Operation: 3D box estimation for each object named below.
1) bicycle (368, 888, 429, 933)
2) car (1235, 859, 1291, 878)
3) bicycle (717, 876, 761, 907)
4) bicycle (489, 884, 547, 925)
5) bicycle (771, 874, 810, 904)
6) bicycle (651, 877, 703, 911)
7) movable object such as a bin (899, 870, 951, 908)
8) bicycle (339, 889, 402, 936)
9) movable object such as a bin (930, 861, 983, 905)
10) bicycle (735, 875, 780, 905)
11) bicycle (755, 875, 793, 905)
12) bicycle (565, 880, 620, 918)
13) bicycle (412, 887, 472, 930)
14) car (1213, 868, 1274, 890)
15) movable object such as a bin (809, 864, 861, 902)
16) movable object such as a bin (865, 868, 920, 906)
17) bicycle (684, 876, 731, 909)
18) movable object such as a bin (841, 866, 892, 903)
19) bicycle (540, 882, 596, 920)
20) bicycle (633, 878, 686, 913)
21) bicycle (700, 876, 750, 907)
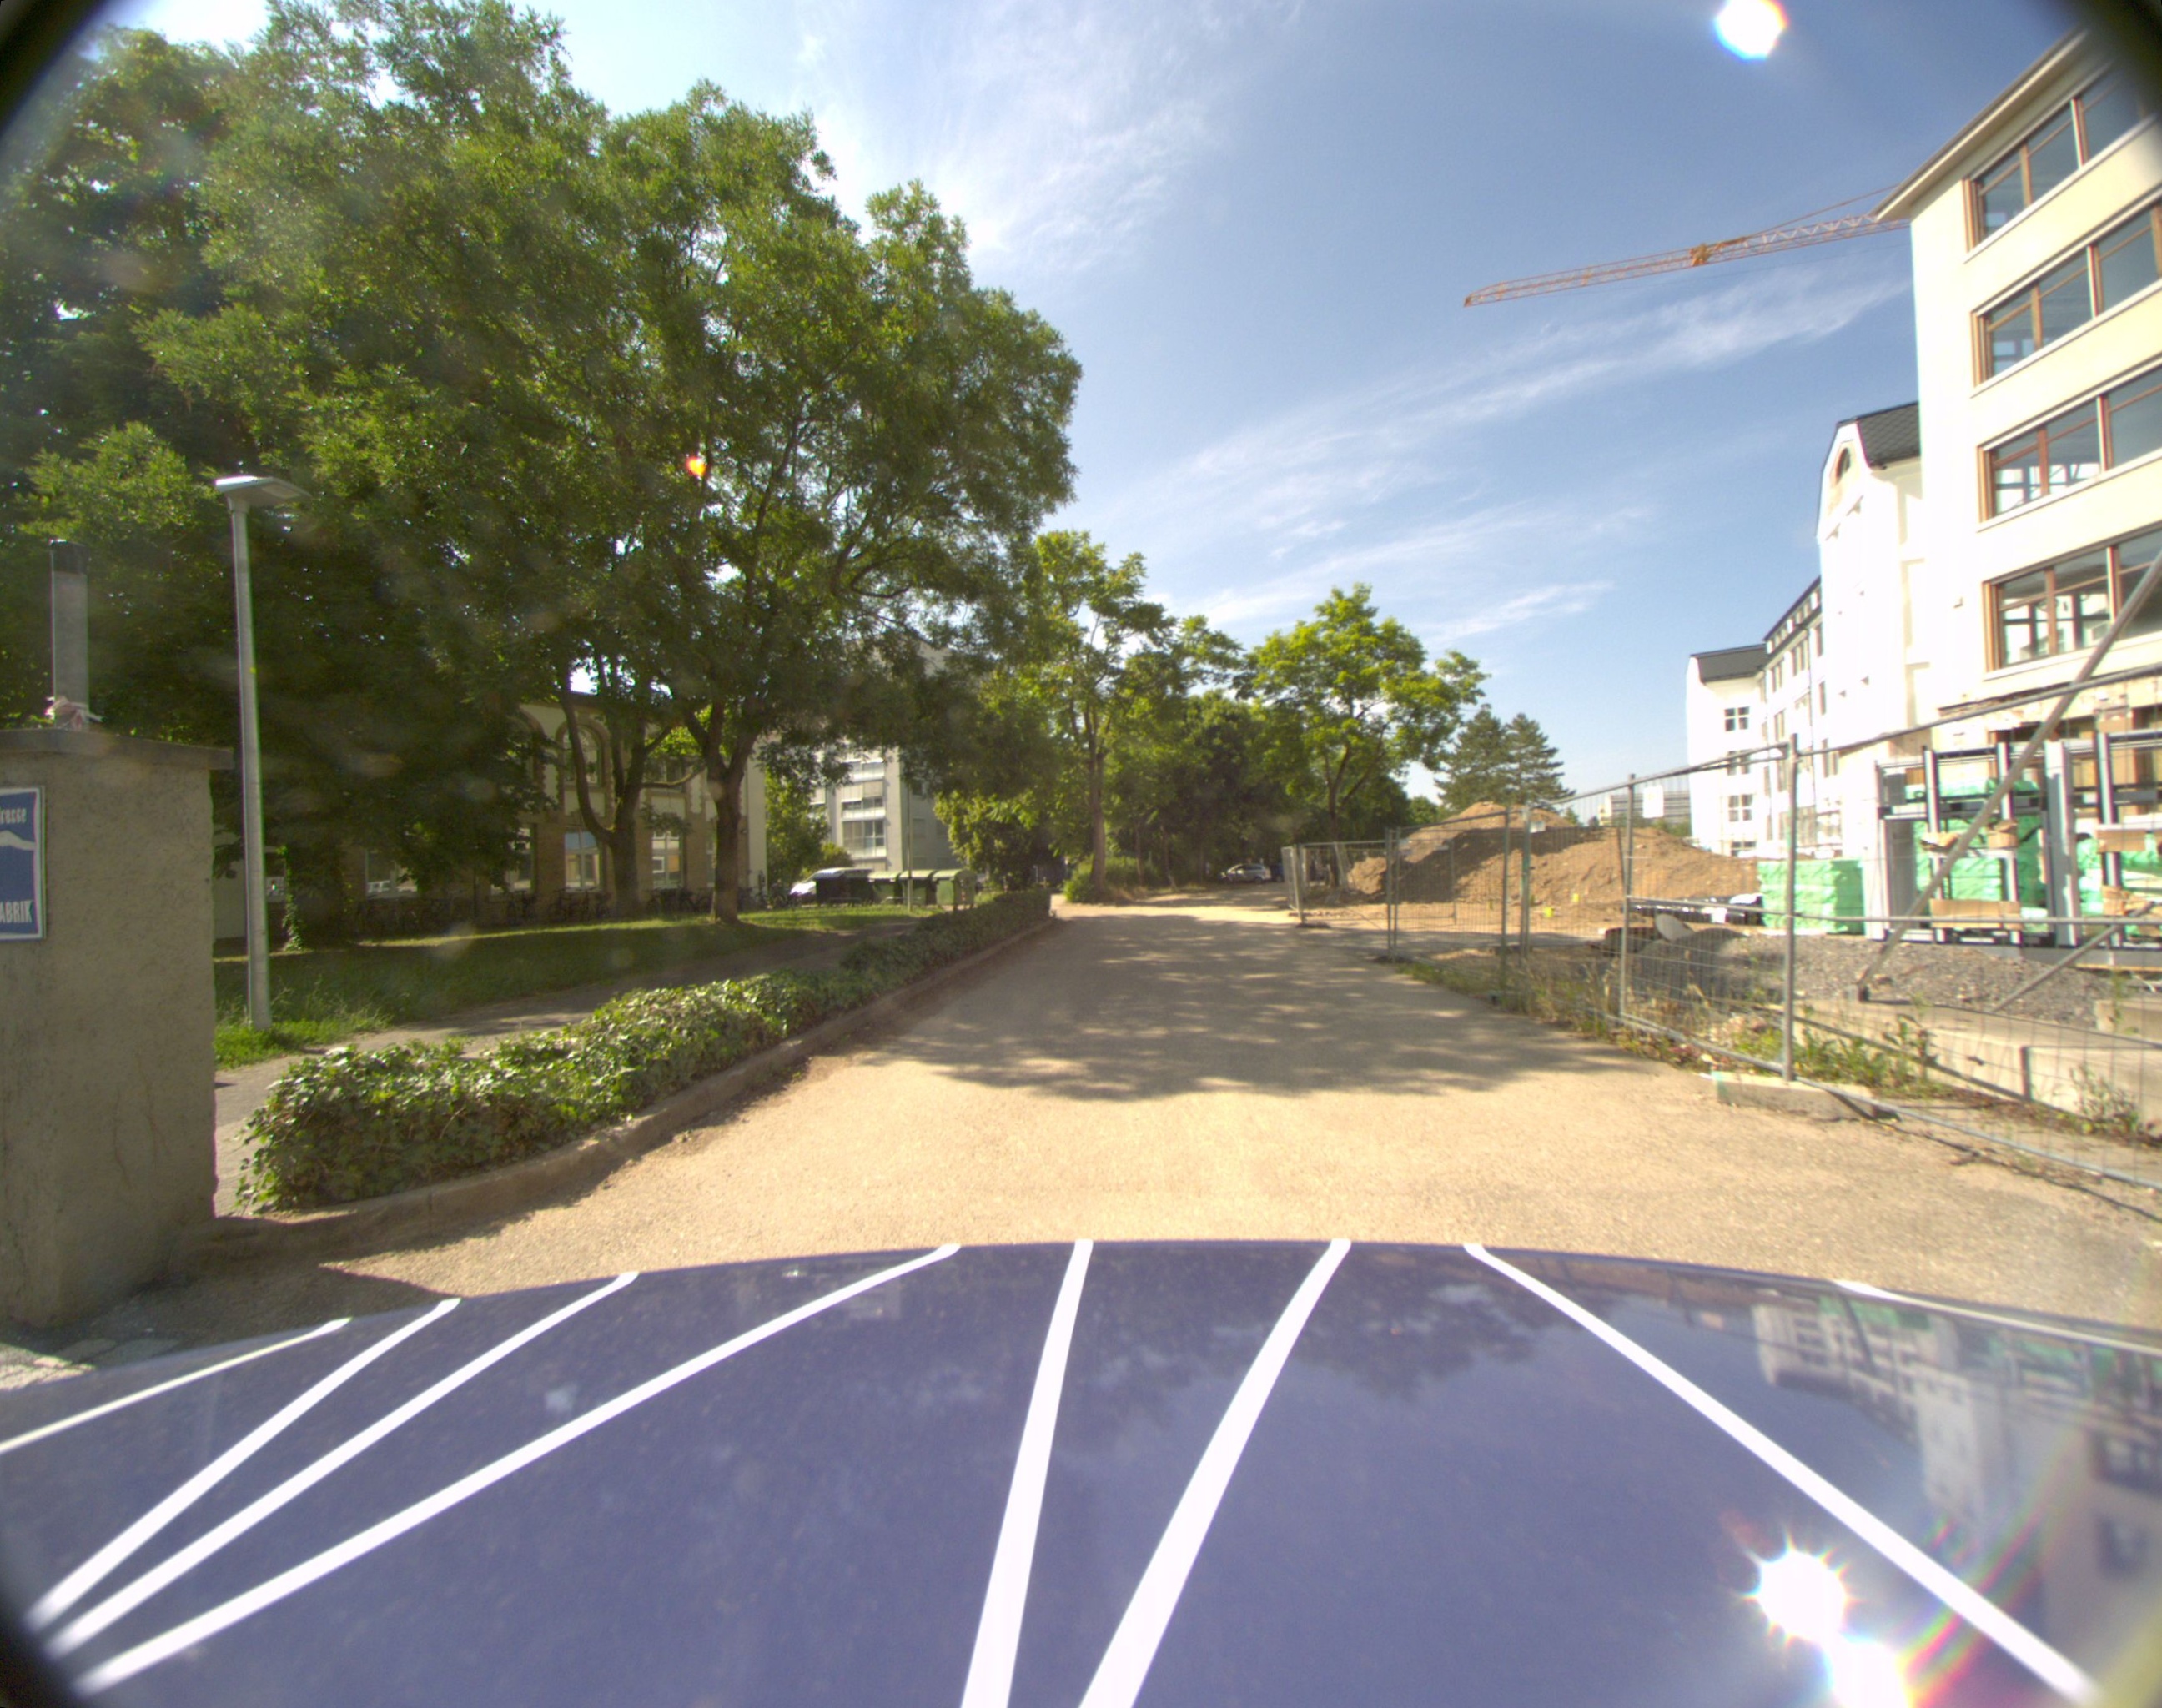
[{"bbox_3d":[-18.535,1.524,20.632,2.097,1.154,0.589,-2,0,30],"label":"bicycle"},{"bbox_3d":[14.638,1.145,61.051,3.990,1.433,2.004,-2,-1,25],"label":"car"},{"bbox_3d":[-13.189,1.426,29.251,1.909,1.154,0.495,-2,0,30],"label":"bicycle"},{"bbox_3d":[-17.018,1.510,22.949,2.097,1.154,0.589,-2,0,30],"label":"bicycle"},{"bbox_3d":[-11.828,1.410,30.896,1.939,1.154,0.558,-2,0,40],"label":"bicycle"},{"bbox_3d":[-14.455,1.417,27.186,2.097,1.154,0.589,-2,0,30],"label":"bicycle"},{"bbox_3d":[-5.606,1.240,27.377,1.352,1.293,1.217,-1,0,27],"label":"movable object such as a bin"},{"bbox_3d":[-18.742,1.521,20.030,2.097,1.154,0.589,-2,0,30],"label":"bicycle"},{"bbox_3d":[-4.363,0.993,26.634,1.388,1.454,1.218,-1,0,42],"label":"movable object such as a bin"},{"bbox_3d":[-12.799,1.426,30.023,1.846,1.154,0.614,-2,0,30],"label":"bicycle"},{"bbox_3d":[-12.340,1.437,30.506,1.800,1.154,0.508,-2,0,35],"label":"bicycle"},{"bbox_3d":[-15.941,1.456,24.799,2.097,1.154,0.589,-2,0,30],"label":"bicycle"},{"bbox_3d":[-18.011,1.514,21.407,2.097,1.154,0.589,-2,0,30],"label":"bicycle"},{"bbox_3d":[12.056,1.840,56.323,3.990,1.499,2.004,-2,-1,25],"label":"car"},{"bbox_3d":[-9.596,1.119,29.692,1.432,1.401,1.252,-1,0,26],"label":"movable object such as a bin"},{"bbox_3d":[-6.953,1.205,28.066,1.498,1.353,1.217,-1,0,27],"label":"movable object such as a bin"},{"bbox_3d":[-13.811,1.411,28.080,1.917,1.154,0.589,-2,0,30],"label":"bicycle"},{"bbox_3d":[-8.186,1.149,29.000,1.349,1.341,1.217,-1,0,27],"label":"movable object such as a bin"},{"bbox_3d":[-16.299,1.483,24.110,2.097,1.154,0.589,-2,0,30],"label":"bicycle"},{"bbox_3d":[-14.743,1.441,26.578,2.097,1.154,0.589,-2,0,30],"label":"bicycle"},{"bbox_3d":[-13.496,1.413,28.764,2.097,1.154,0.589,-2,0,30],"label":"bicycle"}]
